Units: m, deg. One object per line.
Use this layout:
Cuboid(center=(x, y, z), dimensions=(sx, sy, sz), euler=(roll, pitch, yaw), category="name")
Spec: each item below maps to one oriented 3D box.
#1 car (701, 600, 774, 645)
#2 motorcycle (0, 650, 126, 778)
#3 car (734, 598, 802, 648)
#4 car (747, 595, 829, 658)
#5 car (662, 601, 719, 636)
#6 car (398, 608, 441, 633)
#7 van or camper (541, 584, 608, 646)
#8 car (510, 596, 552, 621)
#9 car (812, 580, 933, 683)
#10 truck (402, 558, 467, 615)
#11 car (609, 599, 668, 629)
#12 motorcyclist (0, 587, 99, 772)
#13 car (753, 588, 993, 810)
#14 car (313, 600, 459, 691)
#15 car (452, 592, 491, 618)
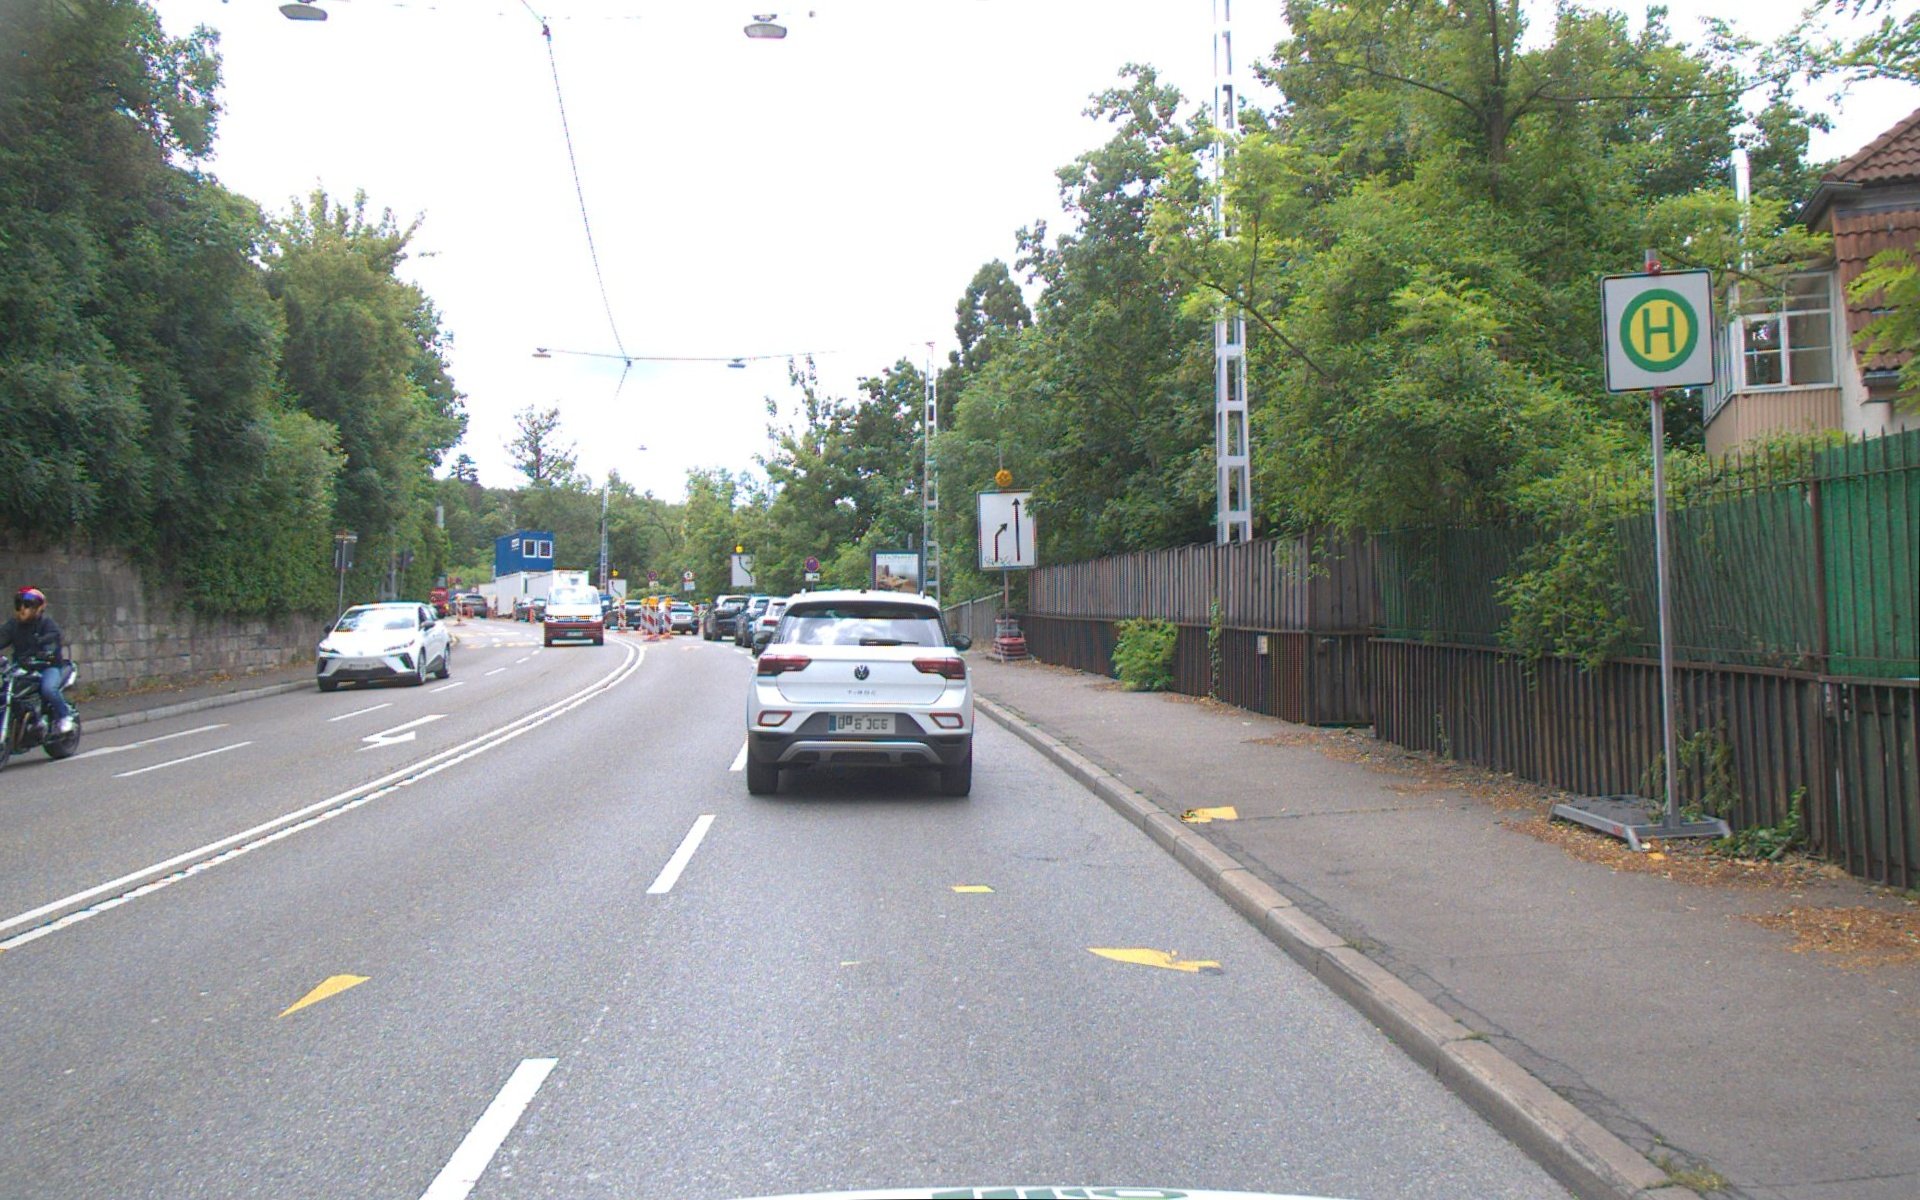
Cuboid(center=(-8.262, 0.798, 61.104), dimensions=(1.963, 1.583, 4.128), euler=(0, 1, -19), category="car")
Cuboid(center=(-9.125, 1.100, 16.378), dimensions=(0.637, 1.092, 2.306), euler=(-3, 0, -3), category="motorcycle")
Cuboid(center=(-6.027, 0.713, 51.546), dimensions=(1.956, 1.439, 4.142), euler=(-2, -1, -8), category="car")
Cuboid(center=(-4.353, 0.633, 41.378), dimensions=(1.726, 1.497, 3.785), euler=(0, 0, -11), category="car")
Cuboid(center=(-12.108, 0.838, 74.109), dimensions=(1.962, 1.475, 4.131), euler=(-1, -1, -17), category="car")
Cuboid(center=(-31.883, 1.207, 97.535), dimensions=(1.873, 1.406, 3.965), euler=(-2, 0, -27), category="car")
Cuboid(center=(-12.650, 0.488, 54.434), dimensions=(1.856, 1.911, 4.753), euler=(-2, 0, -10), category="van or camper")
Cuboid(center=(-26.443, 0.548, 101.836), dimensions=(1.759, 1.480, 3.966), euler=(0, 0, -26), category="car")
Cuboid(center=(-1.569, 0.510, 28.418), dimensions=(1.725, 1.638, 3.788), euler=(0, 0, -8), category="car")
Cuboid(center=(-36.083, -0.876, 113.276), dimensions=(2.909, 3.762, 9.837), euler=(-1, 0, -25), category="truck")
Cuboid(center=(-16.333, 0.724, 83.932), dimensions=(1.969, 1.475, 4.117), euler=(-1, -1, -25), category="car")
Cuboid(center=(-9.162, 0.755, 16.298), dimensions=(0.636, 1.734, 1.337), euler=(-3, 0, -3), category="motorcyclist")
Cuboid(center=(-0.788, 0.717, 13.805), dimensions=(1.723, 1.583, 3.791), euler=(0, 0, -5), category="car")
Cuboid(center=(-10.636, 0.795, 30.947), dimensions=(1.749, 1.492, 4.093), euler=(-3, 0, -8), category="car")
Cuboid(center=(-34.316, 0.332, 116.129), dimensions=(1.820, 1.729, 3.963), euler=(-1, 1, -28), category="car")
